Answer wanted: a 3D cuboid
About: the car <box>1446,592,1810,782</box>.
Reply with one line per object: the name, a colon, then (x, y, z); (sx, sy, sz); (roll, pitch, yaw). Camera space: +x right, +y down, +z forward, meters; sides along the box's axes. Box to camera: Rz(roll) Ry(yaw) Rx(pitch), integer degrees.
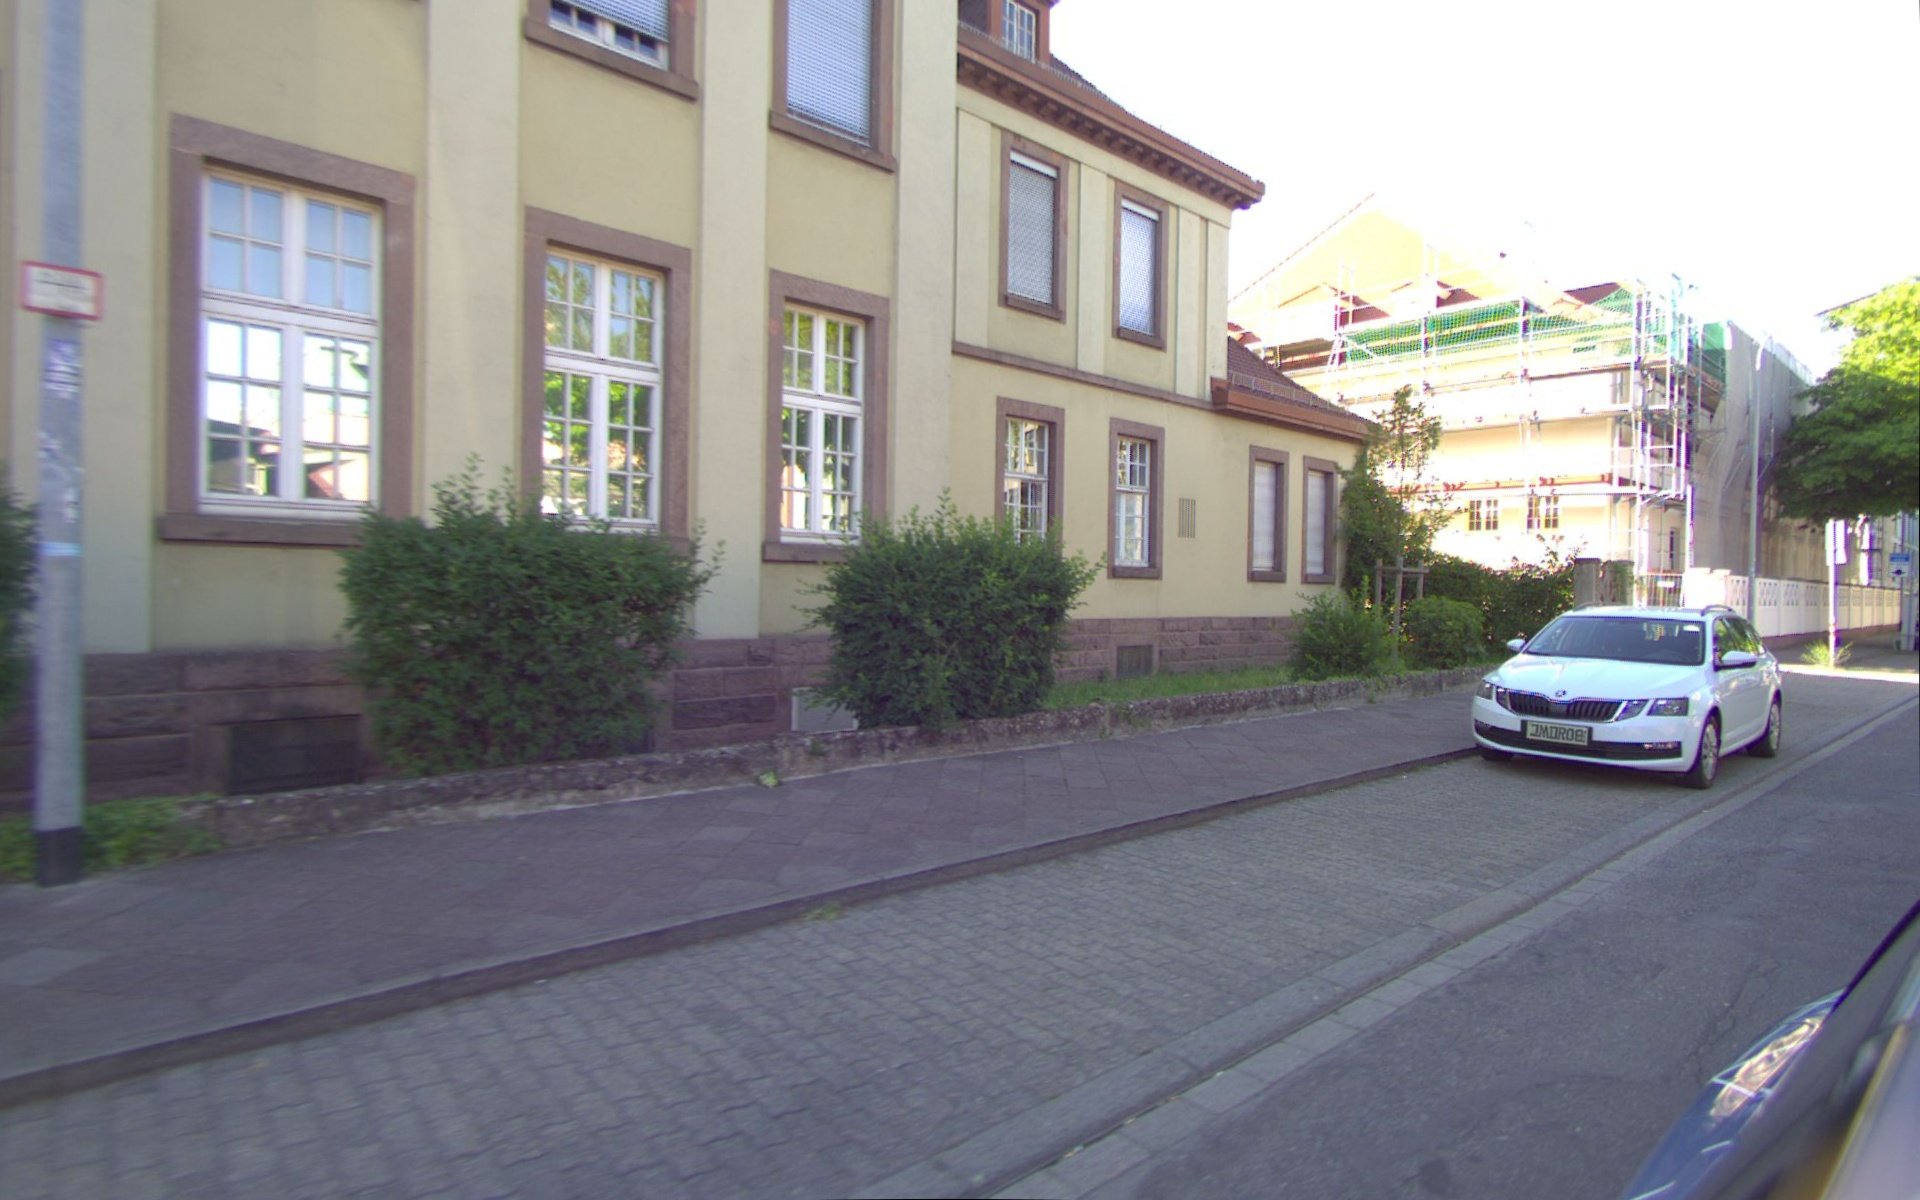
car: (6.481, 0.634, 9.602); (4.419, 1.339, 1.835); (0, 2, -42)
